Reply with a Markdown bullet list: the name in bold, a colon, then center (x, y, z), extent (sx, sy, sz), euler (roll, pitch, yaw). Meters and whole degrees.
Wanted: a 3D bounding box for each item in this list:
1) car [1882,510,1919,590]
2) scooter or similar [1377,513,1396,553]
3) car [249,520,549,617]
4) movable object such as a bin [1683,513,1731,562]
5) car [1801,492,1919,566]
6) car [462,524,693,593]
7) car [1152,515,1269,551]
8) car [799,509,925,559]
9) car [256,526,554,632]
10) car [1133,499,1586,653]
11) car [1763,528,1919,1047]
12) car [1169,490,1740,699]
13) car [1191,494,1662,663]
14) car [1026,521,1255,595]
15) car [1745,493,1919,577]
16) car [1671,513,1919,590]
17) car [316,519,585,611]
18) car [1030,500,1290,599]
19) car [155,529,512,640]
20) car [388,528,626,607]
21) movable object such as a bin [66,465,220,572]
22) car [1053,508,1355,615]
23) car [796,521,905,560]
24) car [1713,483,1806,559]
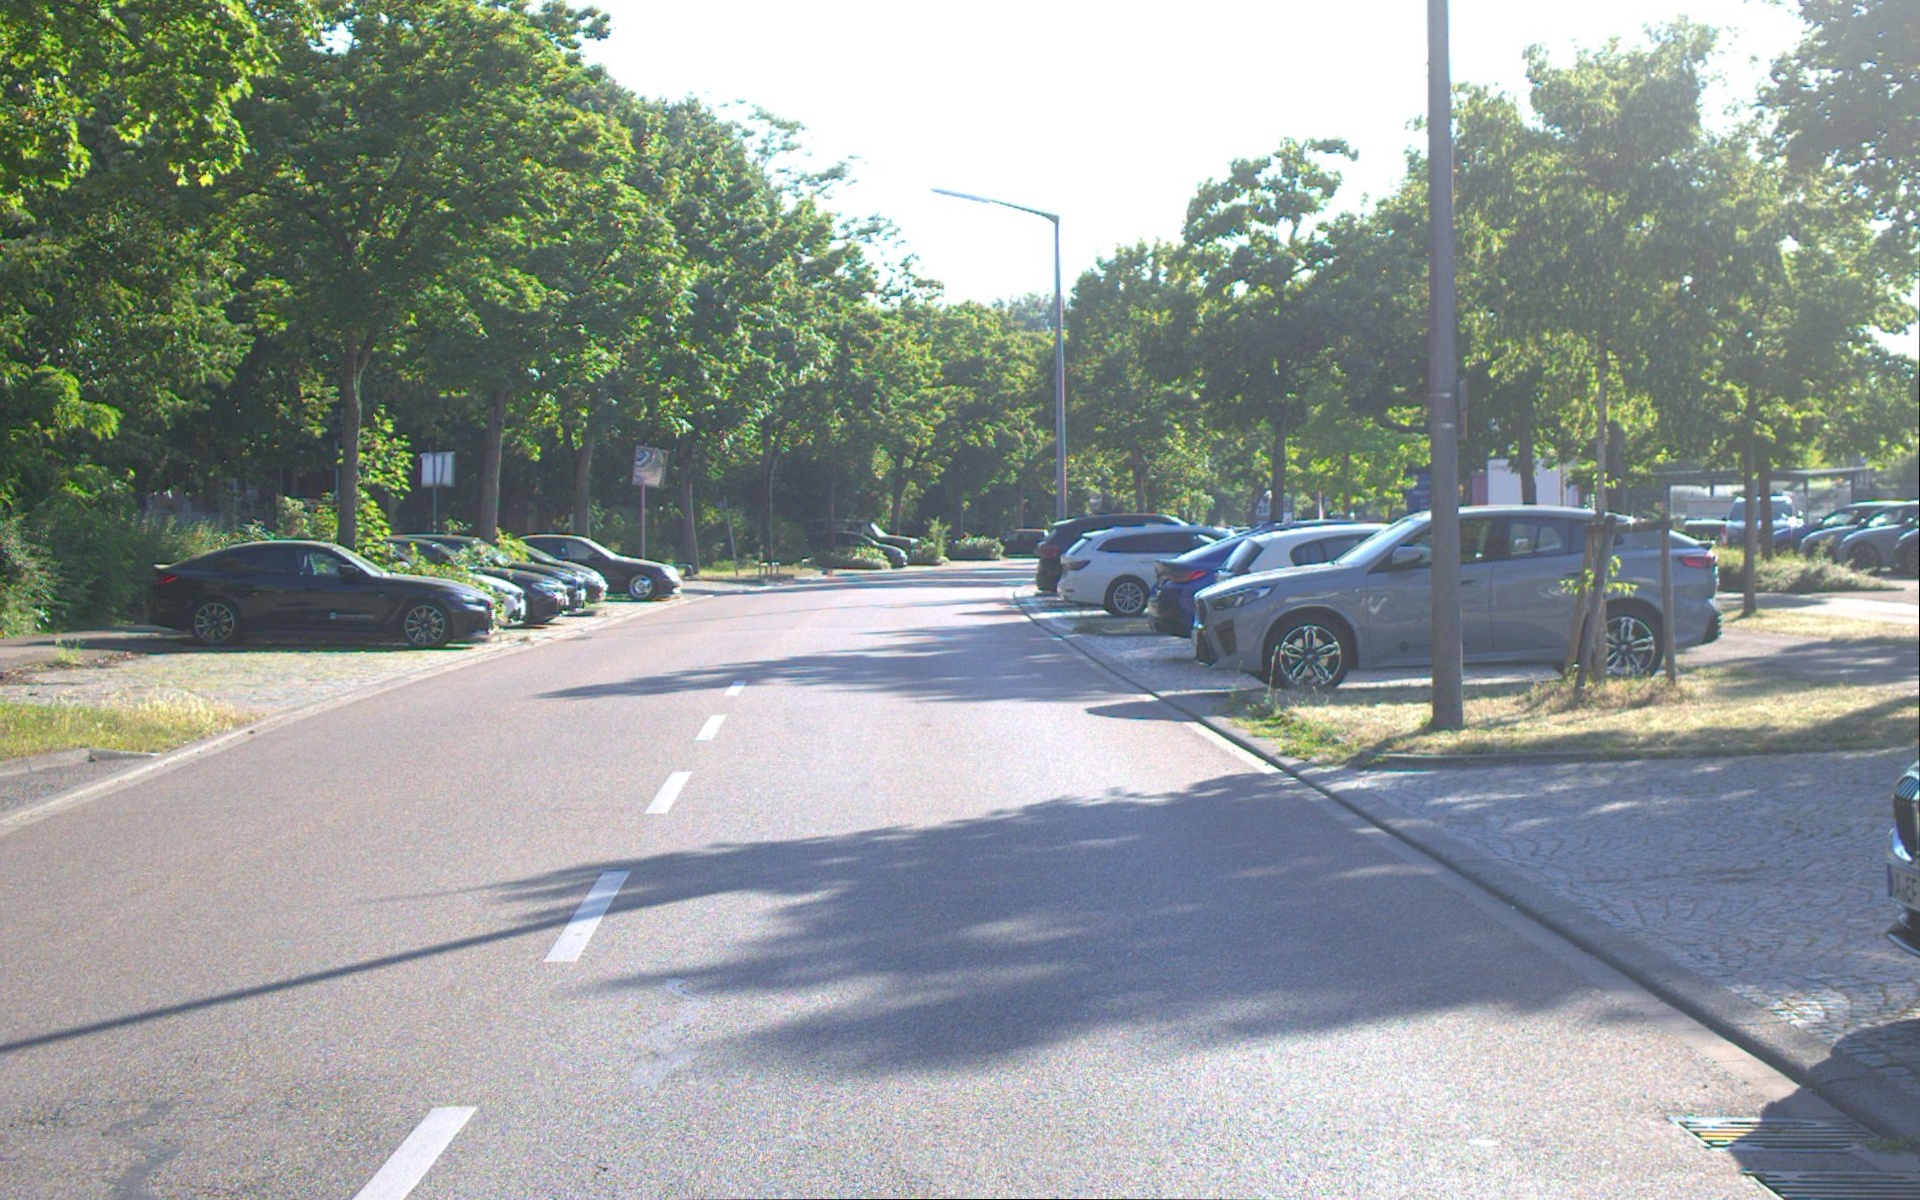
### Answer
- **car**: center (19.586, -0.946, 63.006), extent (4.785, 1.458, 1.995), euler (0, 2, 41)
- **scooter or similar**: center (13.540, -2.124, 109.207), extent (0.520, 1.267, 1.387), euler (-1, 1, 5)
- **car**: center (-9.509, -0.547, 58.546), extent (4.849, 1.525, 2.000), euler (1, 1, -4)
- **movable object such as a bin**: center (19.597, -1.649, 90.213), extent (1.117, 1.263, 1.038), euler (-1, 1, 7)
- **car**: center (19.834, -1.468, 70.096), extent (4.785, 1.458, 2.042), euler (0, 2, 41)
- **car**: center (-8.697, -0.947, 78.459), extent (5.034, 1.457, 2.000), euler (1, 1, 0)
- **car**: center (11.497, -3.074, 157.680), extent (5.177, 1.568, 2.157), euler (-1, 1, 8)
- **car**: center (-4.077, -2.745, 143.657), extent (5.006, 2.013, 2.174), euler (0, 1, 7)
- **car**: center (-8.612, -0.342, 53.599), extent (4.286, 1.525, 2.000), euler (1, 1, 1)
- **car**: center (4.287, -0.274, 37.428), extent (4.624, 1.451, 2.000), euler (-2, 1, -1)
- **car**: center (4.752, 0.447, 10.123), extent (4.198, 1.439, 2.088), euler (-2, 1, -2)
- **car**: center (4.260, -0.073, 30.097), extent (4.590, 1.579, 2.000), euler (-2, 1, -3)
- **car**: center (4.610, -0.230, 34.459), extent (4.376, 1.474, 2.000), euler (-2, 1, -1)
- **car**: center (3.614, -0.859, 69.488), extent (4.481, 1.399, 2.034), euler (-1, 1, 0)
- **car**: center (16.687, -1.171, 61.543), extent (1.995, 1.458, 4.786), euler (-2, 2, -45)
- **car**: center (16.789, -0.954, 68.389), extent (4.785, 1.458, 1.995), euler (0, 2, 41)
- **car**: center (-9.035, -0.638, 61.250), extent (4.479, 1.525, 2.000), euler (1, 1, 0)
- **car**: center (3.695, -0.949, 63.526), extent (4.695, 1.745, 2.191), euler (-1, 1, 4)
- **car**: center (-8.662, -0.225, 47.798), extent (4.648, 1.417, 1.917), euler (1, 1, -3)
- **car**: center (-9.043, -0.667, 68.864), extent (4.479, 1.457, 2.000), euler (1, 1, 0)
- **movable object such as a bin**: center (-21.044, -2.079, 88.403), extent (2.158, 2.655, 4.803), euler (-2, 2, -36)
- **car**: center (3.934, -0.647, 55.914), extent (4.694, 1.474, 2.000), euler (-2, 3, -1)
- **car**: center (-4.448, -2.406, 139.699), extent (4.213, 1.525, 1.705), euler (0, 1, 7)
- **car**: center (19.949, -1.984, 85.691), extent (2.033, 1.821, 4.973), euler (-1, 1, 16)
